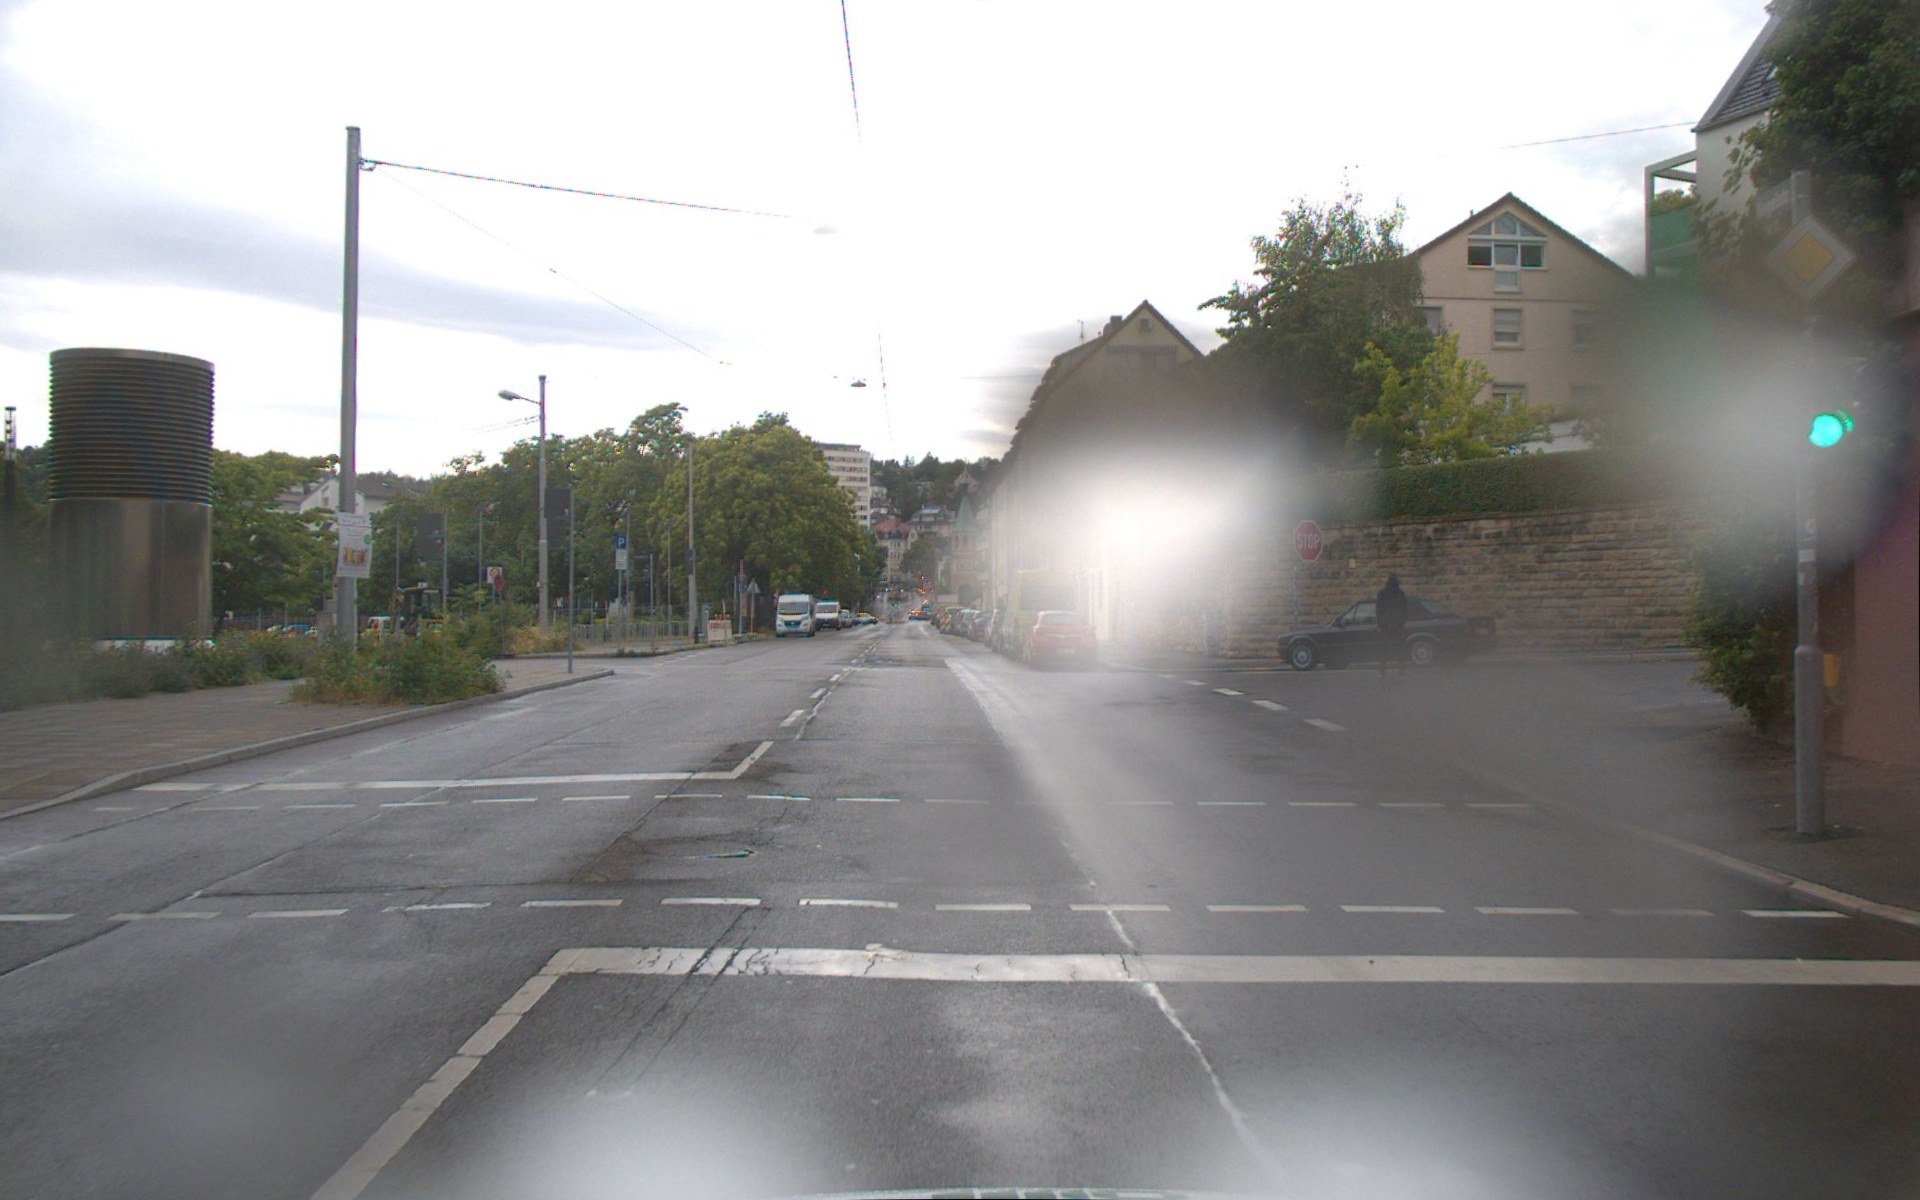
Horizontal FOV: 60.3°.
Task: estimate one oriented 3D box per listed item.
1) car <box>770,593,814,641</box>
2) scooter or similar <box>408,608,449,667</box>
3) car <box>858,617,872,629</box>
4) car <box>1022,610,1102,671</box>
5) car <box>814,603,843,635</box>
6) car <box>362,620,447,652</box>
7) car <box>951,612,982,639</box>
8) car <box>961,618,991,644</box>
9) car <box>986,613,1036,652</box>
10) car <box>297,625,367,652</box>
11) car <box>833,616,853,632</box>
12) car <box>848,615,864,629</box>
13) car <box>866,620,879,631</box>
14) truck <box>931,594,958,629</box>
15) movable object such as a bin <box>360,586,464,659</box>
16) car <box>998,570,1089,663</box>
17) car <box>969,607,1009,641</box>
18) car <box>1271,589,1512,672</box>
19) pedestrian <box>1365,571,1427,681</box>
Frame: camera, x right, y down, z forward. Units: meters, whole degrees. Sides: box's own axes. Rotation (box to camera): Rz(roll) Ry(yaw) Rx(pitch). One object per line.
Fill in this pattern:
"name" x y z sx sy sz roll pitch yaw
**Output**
"car" -9.862 1.005 97.554 2.185 2.624 6.533 -2 0 -3
"scooter or similar" -11.580 0.821 36.043 0.486 1.270 1.231 1 -2 -1
"car" -11.949 2.922 208.084 1.675 1.476 4.291 -1 -1 -3
"car" 2.527 0.988 41.908 1.686 1.446 4.202 1 0 -1
"car" -10.816 1.554 136.496 1.971 2.531 5.981 -1 0 -1
"car" -34.260 2.210 102.097 1.962 1.866 4.669 -2 -1 39
"car" 0.369 1.527 101.239 1.682 1.551 3.998 1 0 -2
"car" 0.902 1.787 96.103 1.527 1.479 3.757 1 0 -2
"car" 2.015 1.336 66.468 1.654 1.479 4.232 1 -2 -2
"car" -41.380 2.529 109.035 1.766 1.654 3.980 -2 -1 39
"car" -10.767 2.223 152.336 1.649 1.423 3.908 -1 -1 -3
"car" -12.167 2.585 193.065 1.767 1.476 4.654 -1 -1 -4
"car" -11.543 3.396 218.356 1.769 1.440 4.380 0 -1 -3
"truck" -1.487 1.141 156.869 2.419 3.228 7.033 0 -1 -1
"movable object such as a bin" -19.446 0.795 58.602 1.656 2.502 5.210 0 -1 -41
"car" 2.367 0.462 48.468 2.161 2.506 6.077 1 0 -1
"car" 1.313 1.093 76.707 1.596 1.479 3.757 1 0 -2
"car" 8.388 0.624 32.360 4.199 1.417 1.743 -4 -3 40
"pedestrian" 7.079 0.417 26.914 0.709 1.745 0.905 -2 0 -1
